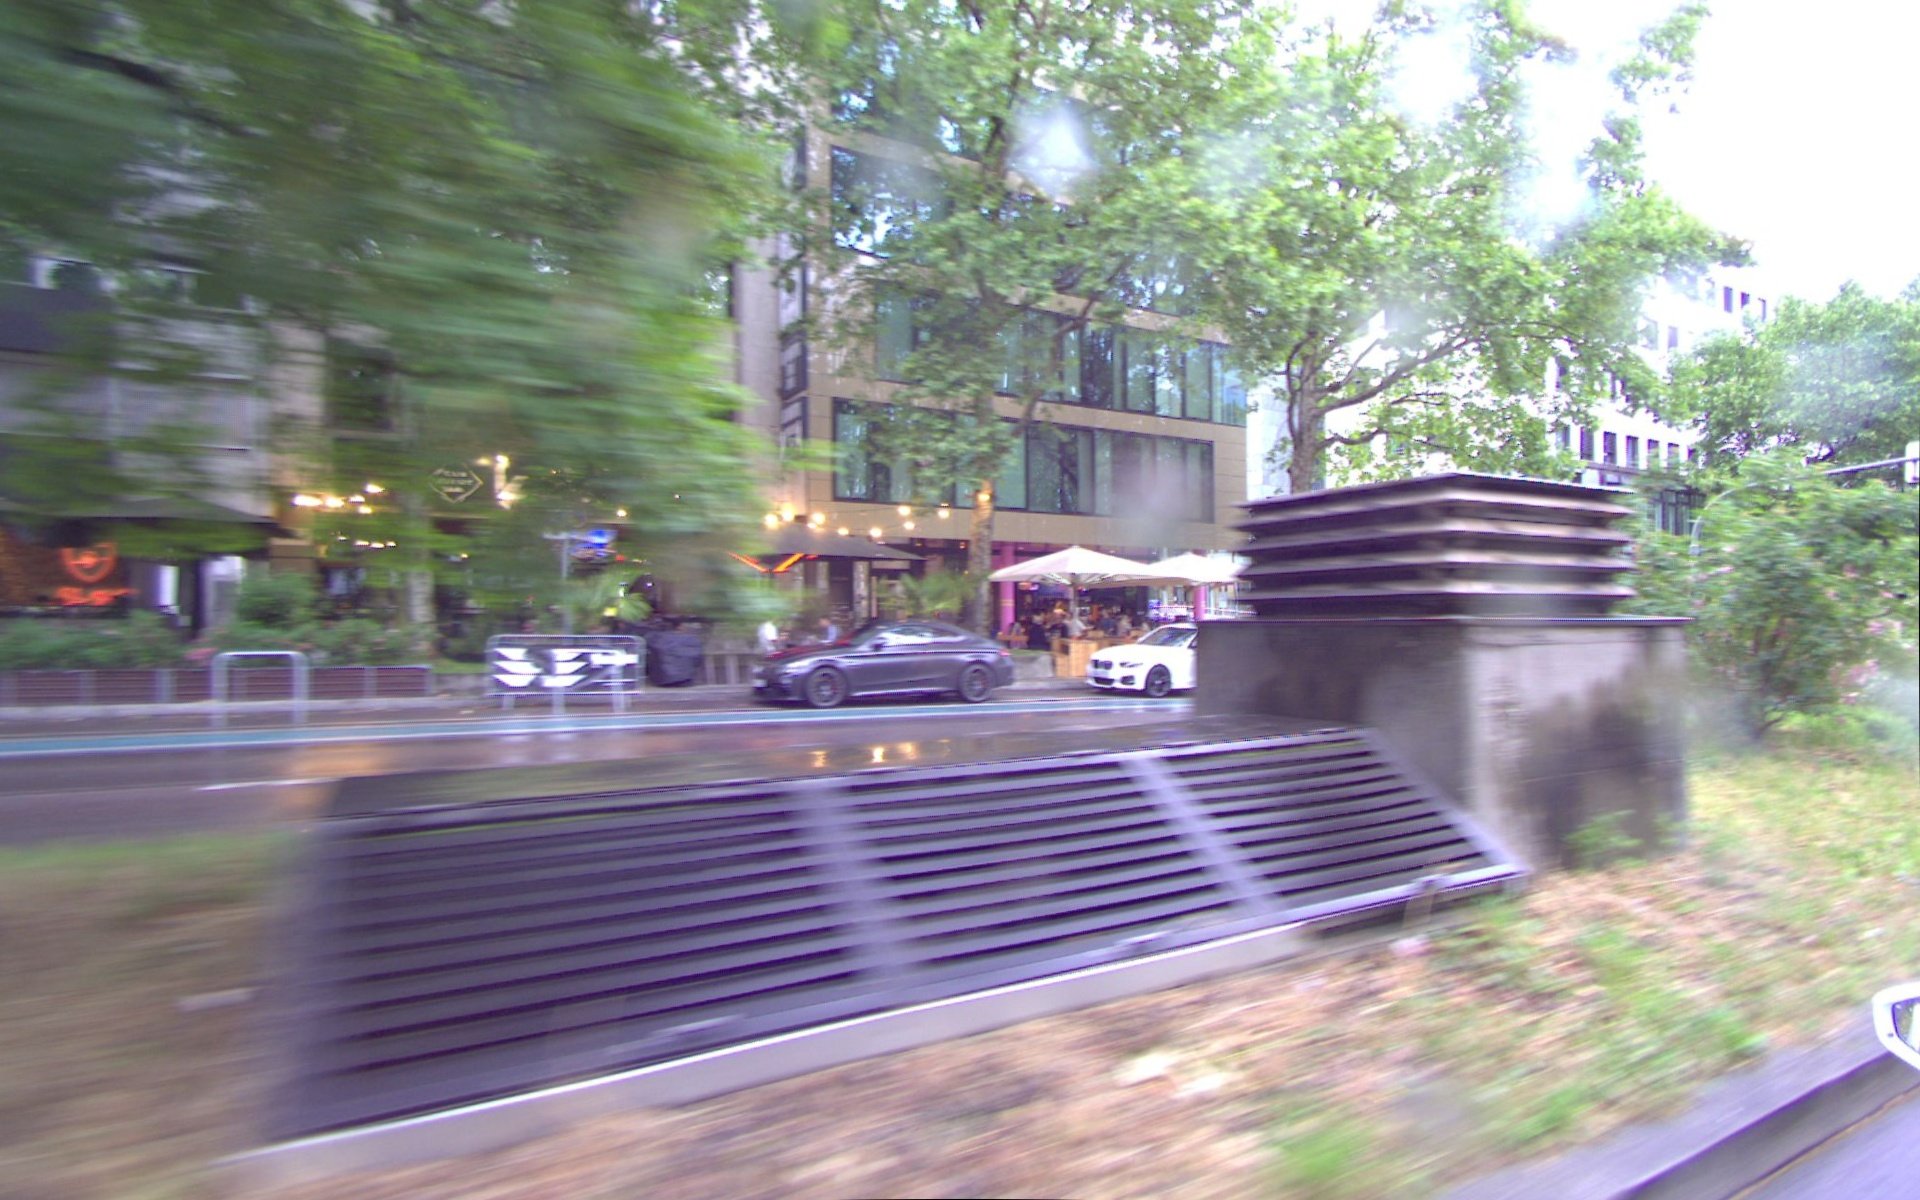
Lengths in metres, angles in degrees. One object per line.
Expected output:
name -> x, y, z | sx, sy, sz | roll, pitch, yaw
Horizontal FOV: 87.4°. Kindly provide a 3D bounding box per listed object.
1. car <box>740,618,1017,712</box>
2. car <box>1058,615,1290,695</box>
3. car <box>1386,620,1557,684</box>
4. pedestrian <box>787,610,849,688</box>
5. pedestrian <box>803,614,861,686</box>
car -> -1.360, 1.054, 17.316 | 4.430, 1.413, 1.816 | 1, -1, -30
car -> 4.428, 1.071, 20.666 | 4.486, 1.388, 1.984 | 1, 1, -30
car -> 13.307, 1.297, 26.097 | 4.468, 1.529, 1.983 | 1, -1, -32
pedestrian -> -2.828, 0.964, 20.024 | 0.963, 1.508, 0.824 | 1, 0, -33
pedestrian -> -2.568, 0.982, 20.133 | 0.923, 1.398, 0.759 | 1, 0, -33
